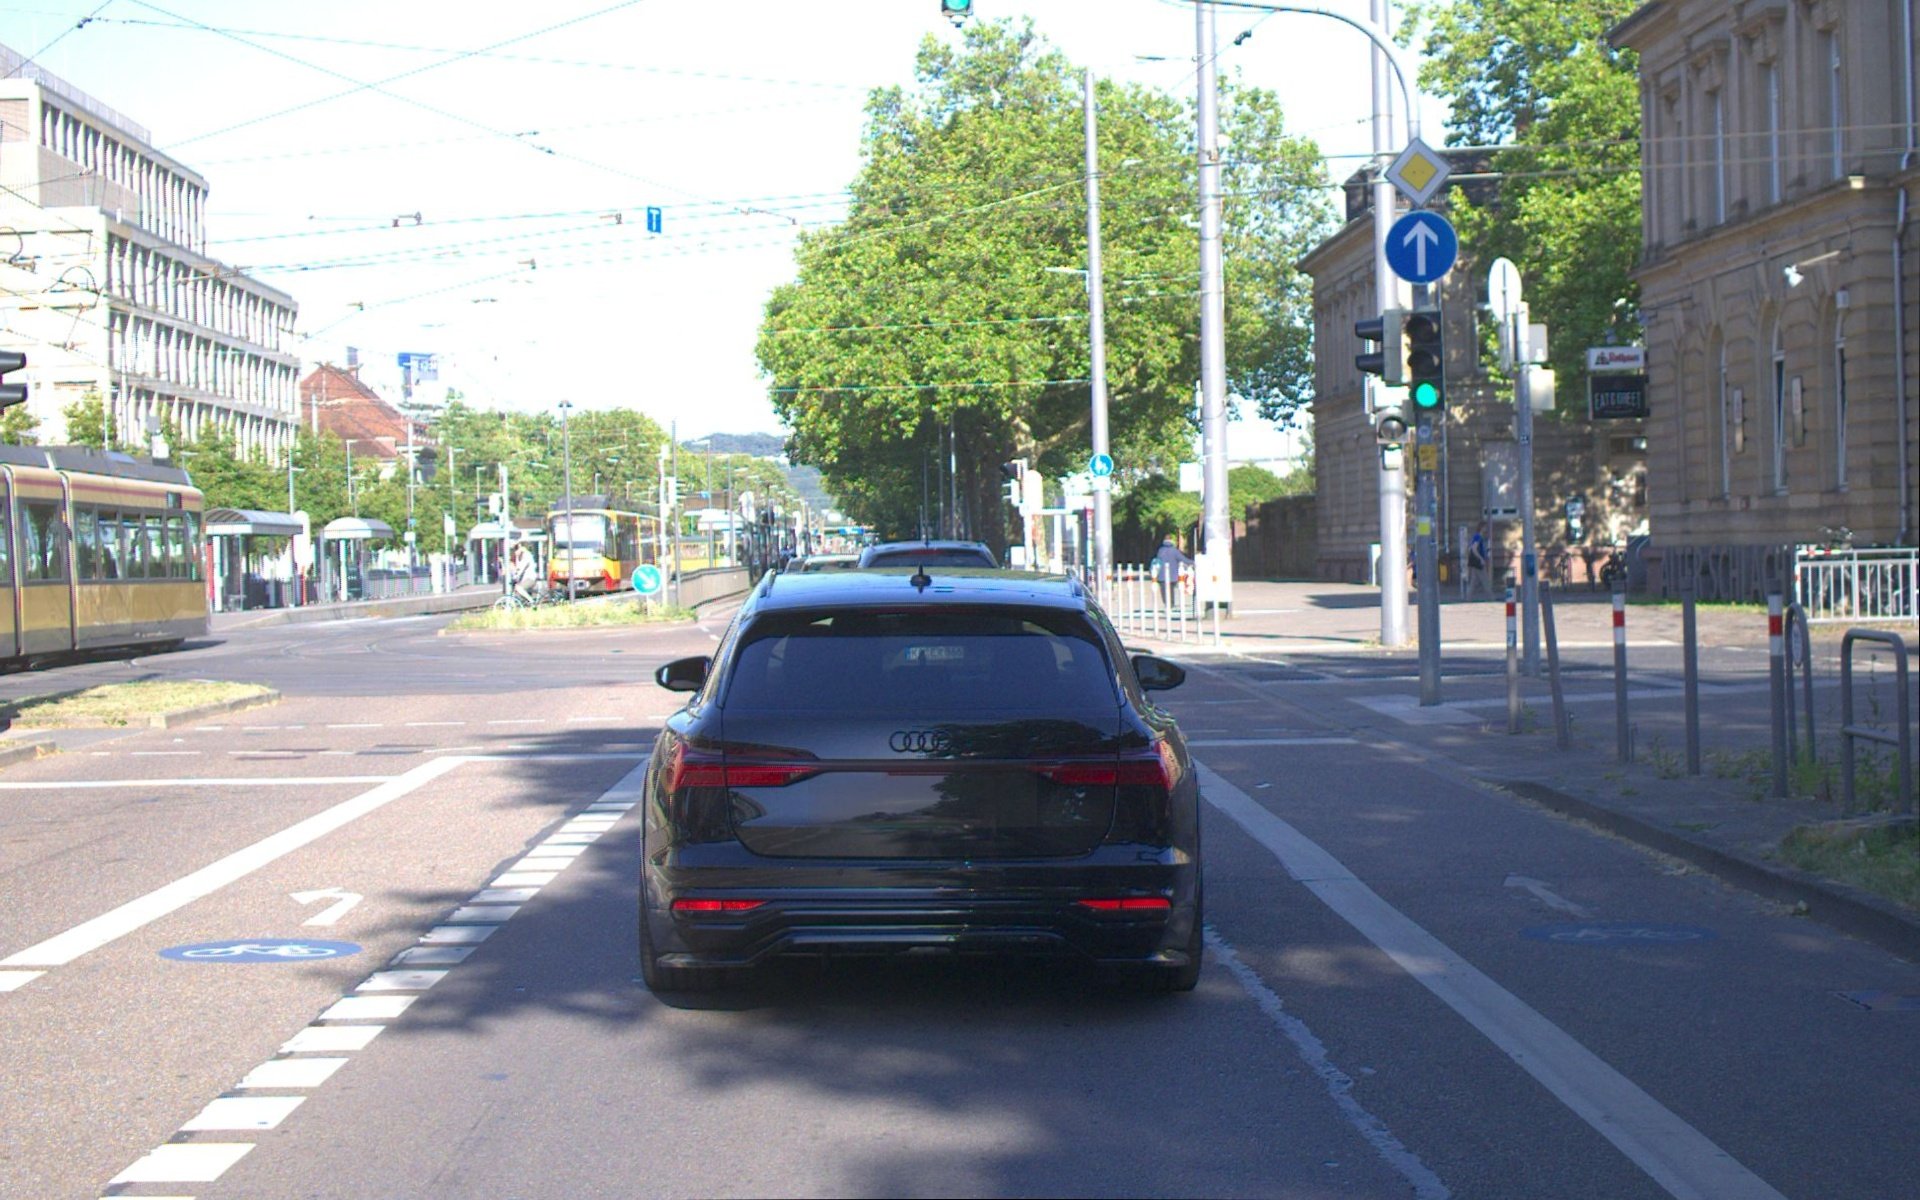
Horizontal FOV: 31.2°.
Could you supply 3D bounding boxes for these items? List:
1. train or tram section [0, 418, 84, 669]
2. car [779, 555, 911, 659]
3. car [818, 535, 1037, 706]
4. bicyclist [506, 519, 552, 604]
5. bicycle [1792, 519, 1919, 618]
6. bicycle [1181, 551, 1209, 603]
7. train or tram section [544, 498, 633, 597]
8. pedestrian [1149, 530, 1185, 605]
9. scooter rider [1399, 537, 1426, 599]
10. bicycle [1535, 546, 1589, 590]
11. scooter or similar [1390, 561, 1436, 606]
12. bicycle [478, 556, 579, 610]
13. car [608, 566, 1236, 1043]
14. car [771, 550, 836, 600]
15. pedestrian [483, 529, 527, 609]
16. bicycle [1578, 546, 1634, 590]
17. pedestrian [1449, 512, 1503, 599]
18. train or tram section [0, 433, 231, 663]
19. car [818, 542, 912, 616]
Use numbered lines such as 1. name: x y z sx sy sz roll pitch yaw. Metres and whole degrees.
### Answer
1. train or tram section: -14.652 -0.727 45.807 2.813 3.477 13.205 -2 1 -2
2. car: -1.709 0.070 51.881 1.902 1.481 4.145 1 1 -1
3. car: -0.326 0.149 32.198 1.902 1.481 4.145 1 1 -1
4. bicyclist: -9.369 -0.832 74.766 0.756 1.812 0.765 -2 1 -22
5. bicycle: 12.054 -0.430 44.906 2.136 1.205 0.765 -3 1 -3
6. bicycle: 5.236 -0.521 76.681 0.434 1.141 1.340 -2 1 -3
7. train or tram section: -13.694 -1.951 127.320 2.608 3.439 11.134 -2 1 -3
8. pedestrian: 4.608 -0.726 76.648 0.682 1.655 0.758 -2 1 -3
9. scooter rider: 10.264 -0.715 77.933 0.484 1.381 0.377 -3 0 -3
10. bicycle: 14.645 -0.791 83.673 0.526 1.043 2.360 -2 1 -10
11. scooter or similar: 10.270 -0.372 77.929 0.938 0.963 0.361 -3 0 -3
12. bicycle: -9.378 -0.367 74.749 2.005 1.104 0.765 -2 1 -22
13. car: -0.155 0.604 12.571 1.902 1.417 4.145 1 1 -1
14. car: -4.833 -0.785 106.592 1.902 1.481 4.145 1 1 -1
15. pedestrian: -10.085 -0.682 76.188 0.740 1.735 0.664 -2 1 -26
16. bicycle: 15.710 -0.793 83.674 0.526 1.043 2.360 -2 1 -10
17. pedestrian: 11.207 -0.974 74.692 0.979 1.859 0.827 -2 1 -4
18. train or tram section: -14.999 -0.861 58.482 2.813 3.477 12.155 -2 1 -1
19. car: -1.964 -0.465 71.897 1.902 1.481 4.145 1 1 -1
